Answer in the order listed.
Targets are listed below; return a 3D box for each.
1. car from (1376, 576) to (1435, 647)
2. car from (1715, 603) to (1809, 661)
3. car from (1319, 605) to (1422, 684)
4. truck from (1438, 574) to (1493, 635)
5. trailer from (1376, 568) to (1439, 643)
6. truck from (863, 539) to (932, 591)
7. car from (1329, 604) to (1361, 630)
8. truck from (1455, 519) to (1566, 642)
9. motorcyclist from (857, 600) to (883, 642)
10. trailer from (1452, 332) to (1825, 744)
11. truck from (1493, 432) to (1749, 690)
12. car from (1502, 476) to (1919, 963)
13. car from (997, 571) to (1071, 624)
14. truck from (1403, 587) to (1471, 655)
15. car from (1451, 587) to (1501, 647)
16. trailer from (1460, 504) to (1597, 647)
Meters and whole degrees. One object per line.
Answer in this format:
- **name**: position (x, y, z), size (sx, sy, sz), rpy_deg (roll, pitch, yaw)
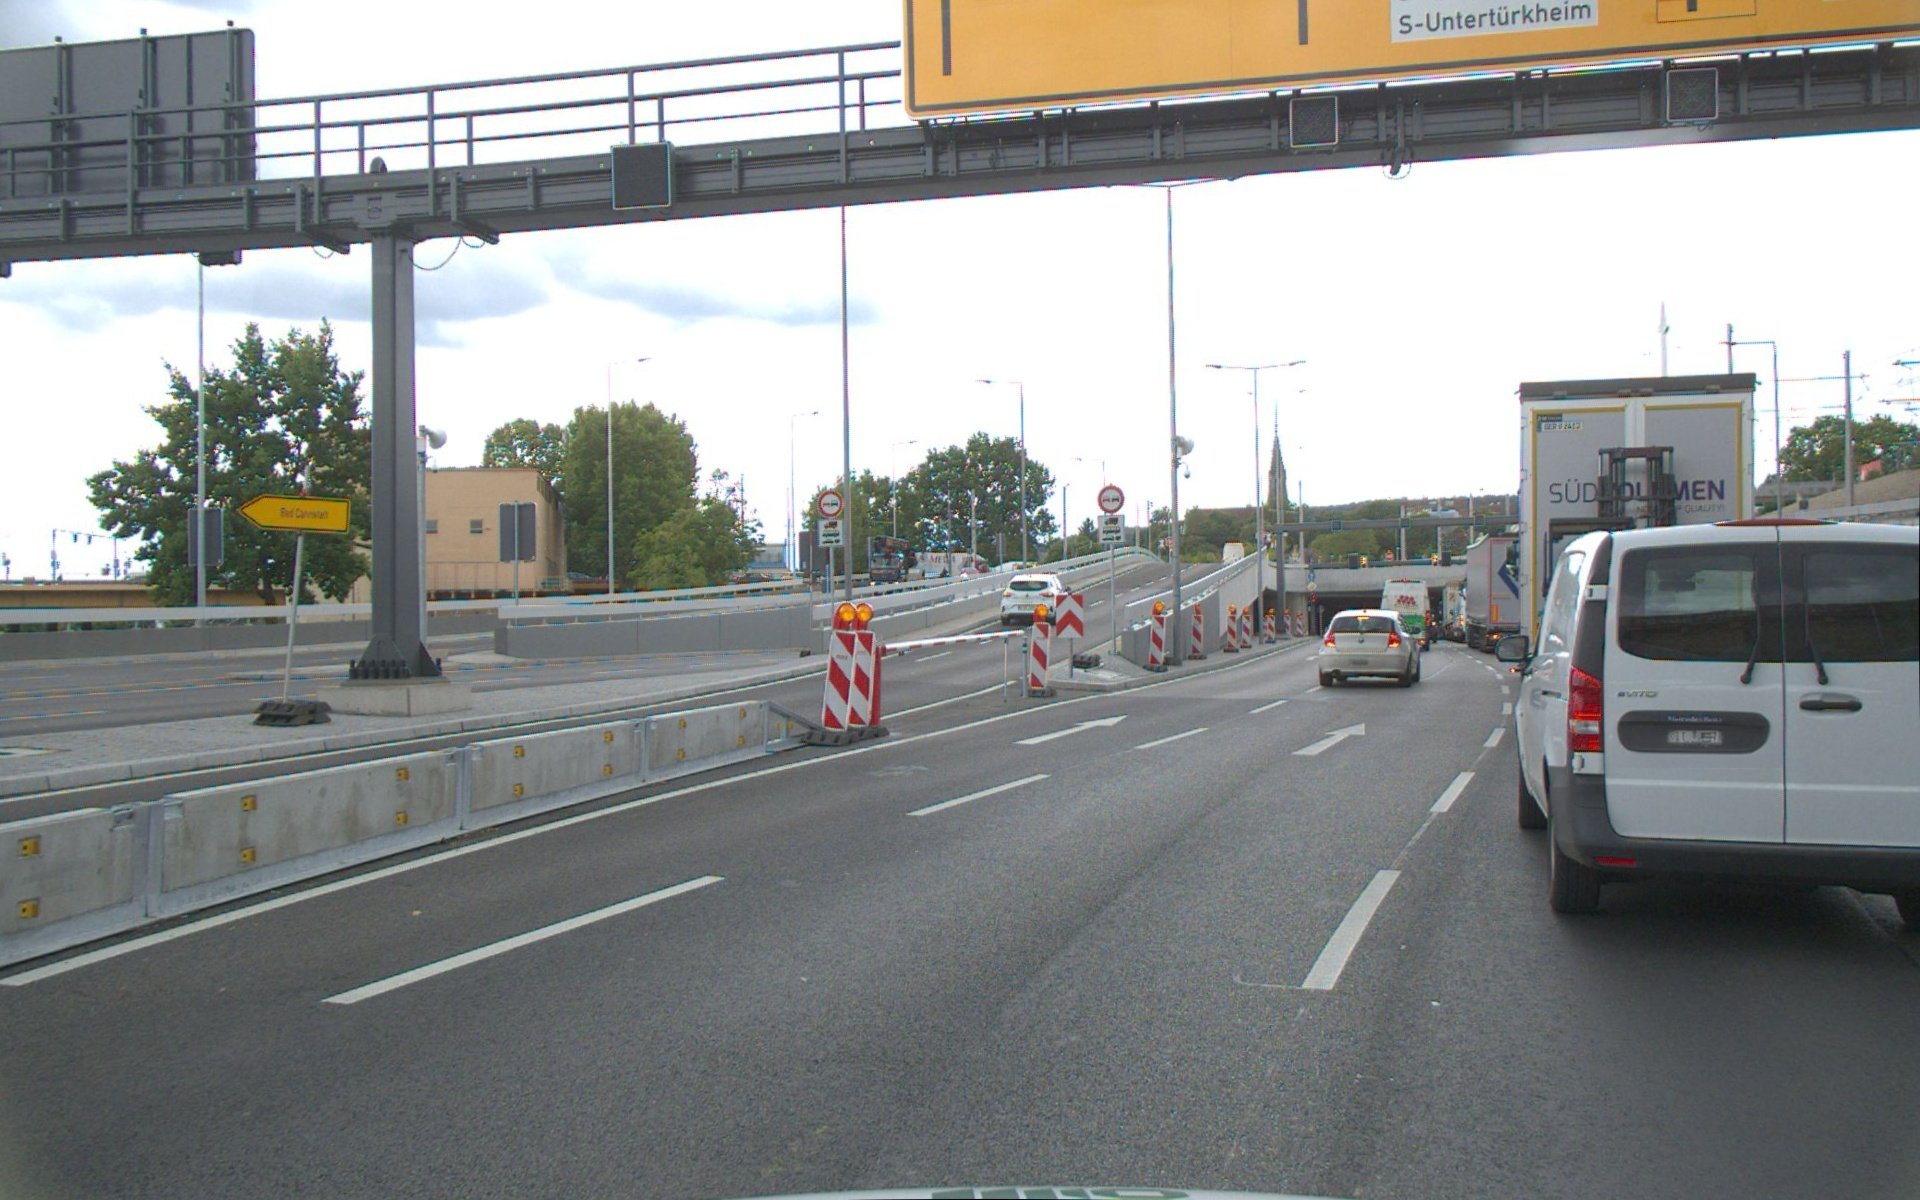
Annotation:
- **car**: position (18.179, 0.486, 67.713), size (2.014, 2.674, 5.947), rpy_deg (3, 0, 13)
- **car**: position (24.188, 0.960, 50.021), size (1.853, 1.655, 4.002), rpy_deg (1, -1, 16)
- **car**: position (8.130, 0.837, 32.510), size (1.680, 1.422, 4.349), rpy_deg (1, 0, 18)
- **truck**: position (28.223, 0.336, 92.577), size (2.593, 3.241, 7.430), rpy_deg (-1, -1, 15)
- **trailer**: position (17.180, 0.254, 63.649), size (2.059, 2.685, 4.813), rpy_deg (3, 0, 13)
- **truck**: position (-4.330, -2.602, 118.204), size (2.674, 3.448, 10.631), rpy_deg (1, 2, 10)
- **car**: position (24.373, 1.076, 104.719), size (1.624, 1.514, 3.569), rpy_deg (-1, -2, 8)
- **truck**: position (22.301, -0.723, 67.455), size (3.724, 4.712, 7.447), rpy_deg (0, 0, 14)
- **motorcyclist**: position (-3.548, 0.839, 65.155), size (0.651, 1.634, 1.103), rpy_deg (0, -1, 18)
- **trailer**: position (9.024, -0.597, 22.702), size (3.647, 4.214, 10.984), rpy_deg (0, 0, 20)
- **truck**: position (12.686, -0.611, 32.856), size (3.645, 4.214, 10.990), rpy_deg (0, 0, 16)
- **car**: position (4.305, 0.517, 9.498), size (1.951, 2.025, 5.203), rpy_deg (0, 0, 15)
- **car**: position (2.268, -0.038, 49.908), size (1.706, 1.457, 3.778), rpy_deg (3, 0, 10)
- **truck**: position (15.671, 0.700, 54.444), size (1.951, 2.066, 3.835), rpy_deg (3, 0, 15)
- **car**: position (25.802, 0.813, 82.876), size (2.031, 2.822, 7.331), rpy_deg (1, 0, 14)
- **trailer**: position (20.596, -0.770, 60.666), size (3.724, 4.712, 12.123), rpy_deg (0, 0, 14)
